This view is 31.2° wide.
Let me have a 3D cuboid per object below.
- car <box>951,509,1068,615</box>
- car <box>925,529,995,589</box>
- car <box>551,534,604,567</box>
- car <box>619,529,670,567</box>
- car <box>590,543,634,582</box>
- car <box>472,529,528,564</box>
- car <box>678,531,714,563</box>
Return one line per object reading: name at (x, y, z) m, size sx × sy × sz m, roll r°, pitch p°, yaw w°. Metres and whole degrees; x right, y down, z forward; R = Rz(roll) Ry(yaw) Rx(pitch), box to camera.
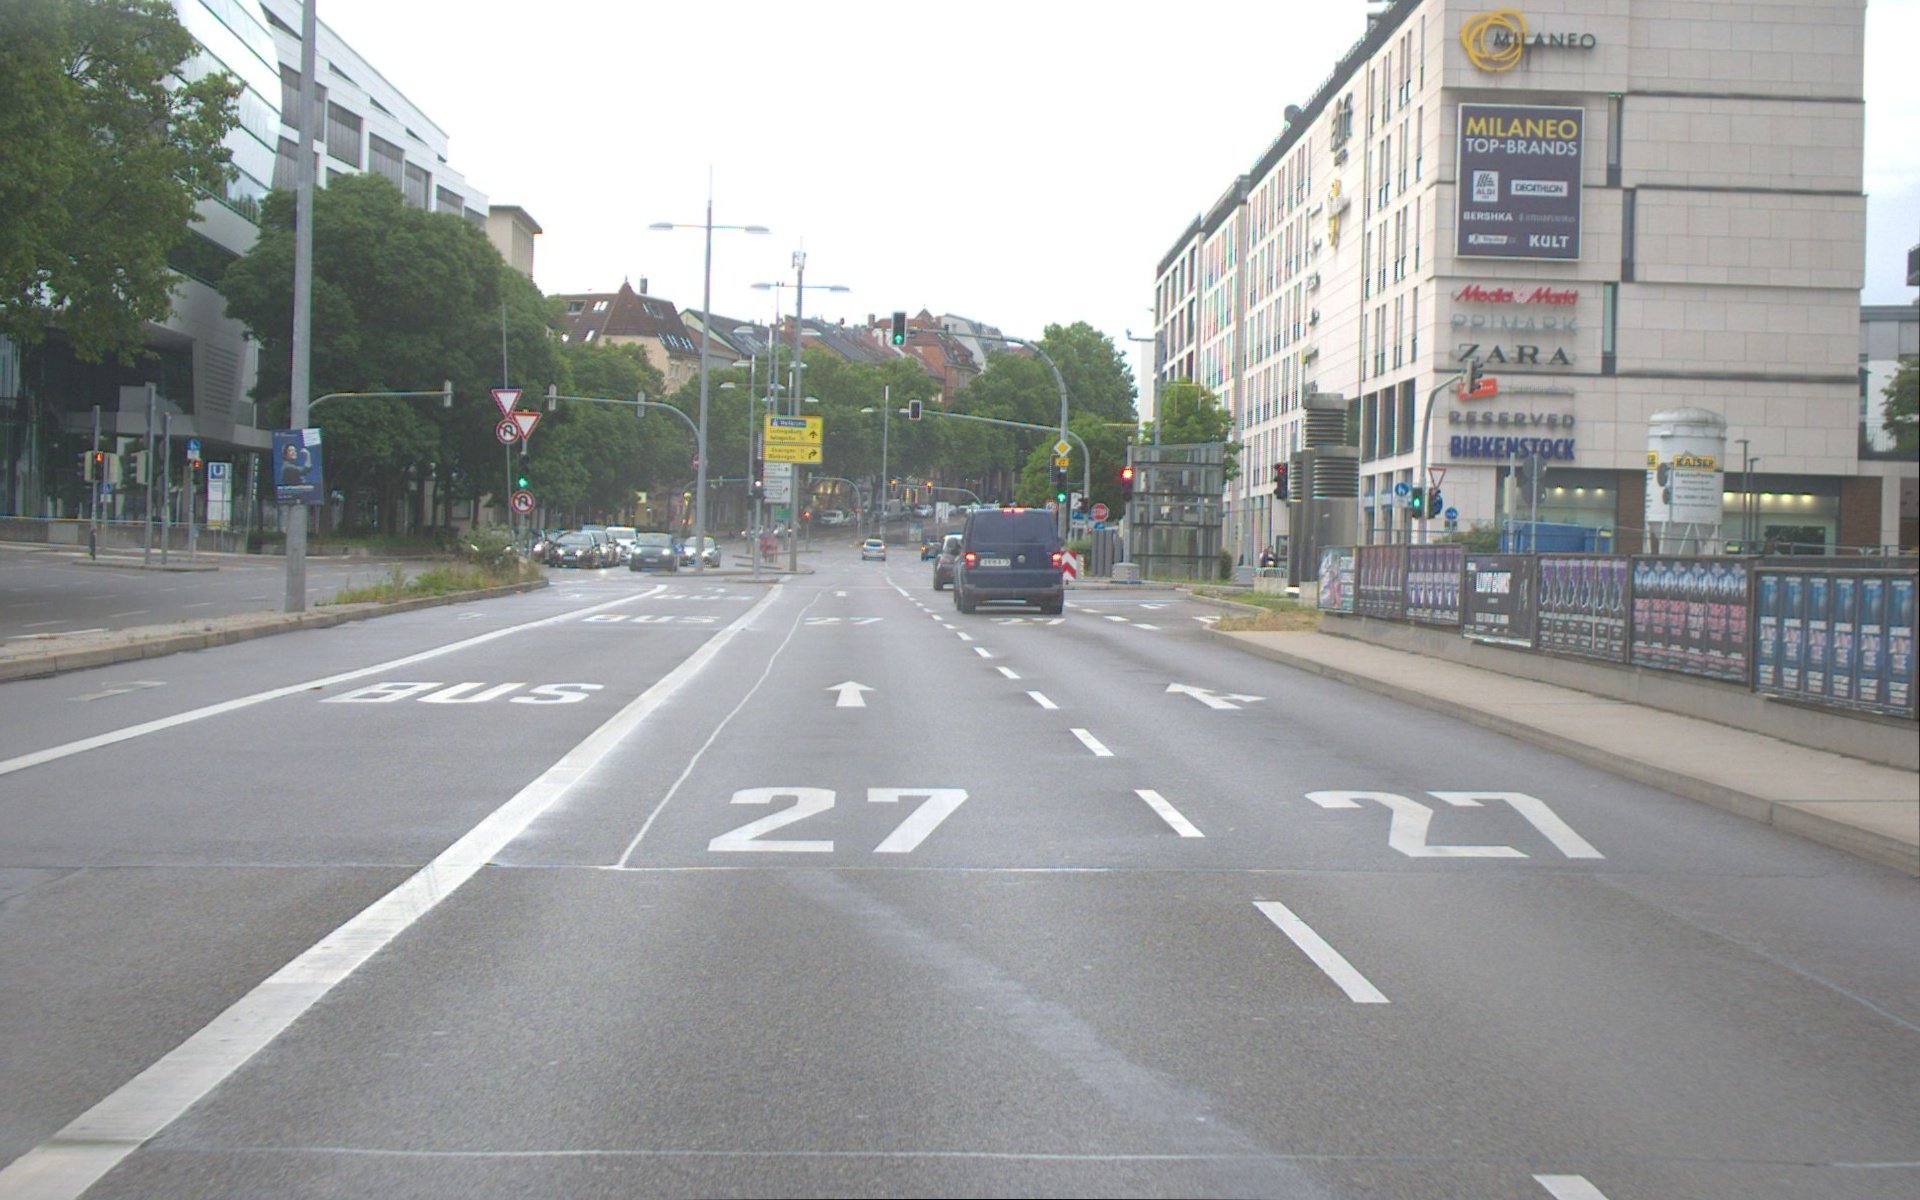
car at (0.898, -0.757, 65.591) m, size 2.033 × 1.875 × 5.042 m, roll -2°, pitch 2°, yaw -1°
car at (-0.021, -1.054, 90.150) m, size 1.740 × 1.526 × 3.814 m, roll 1°, pitch 0°, yaw -1°
car at (-15.205, -1.971, 136.824) m, size 1.743 × 1.253 × 3.540 m, roll 2°, pitch 1°, yaw -1°
car at (-12.443, -2.055, 135.634) m, size 1.743 × 1.439 × 3.395 m, roll 1°, pitch 0°, yaw -1°
car at (-15.959, -1.718, 157.726) m, size 1.743 × 1.742 × 3.540 m, roll 1°, pitch 0°, yaw -1°
car at (-18.246, -2.117, 136.495) m, size 1.743 × 1.324 × 4.226 m, roll 1°, pitch 0°, yaw -1°
car at (-12.599, -2.529, 164.178) m, size 1.538 × 1.472 × 3.696 m, roll 1°, pitch 0°, yaw -1°
